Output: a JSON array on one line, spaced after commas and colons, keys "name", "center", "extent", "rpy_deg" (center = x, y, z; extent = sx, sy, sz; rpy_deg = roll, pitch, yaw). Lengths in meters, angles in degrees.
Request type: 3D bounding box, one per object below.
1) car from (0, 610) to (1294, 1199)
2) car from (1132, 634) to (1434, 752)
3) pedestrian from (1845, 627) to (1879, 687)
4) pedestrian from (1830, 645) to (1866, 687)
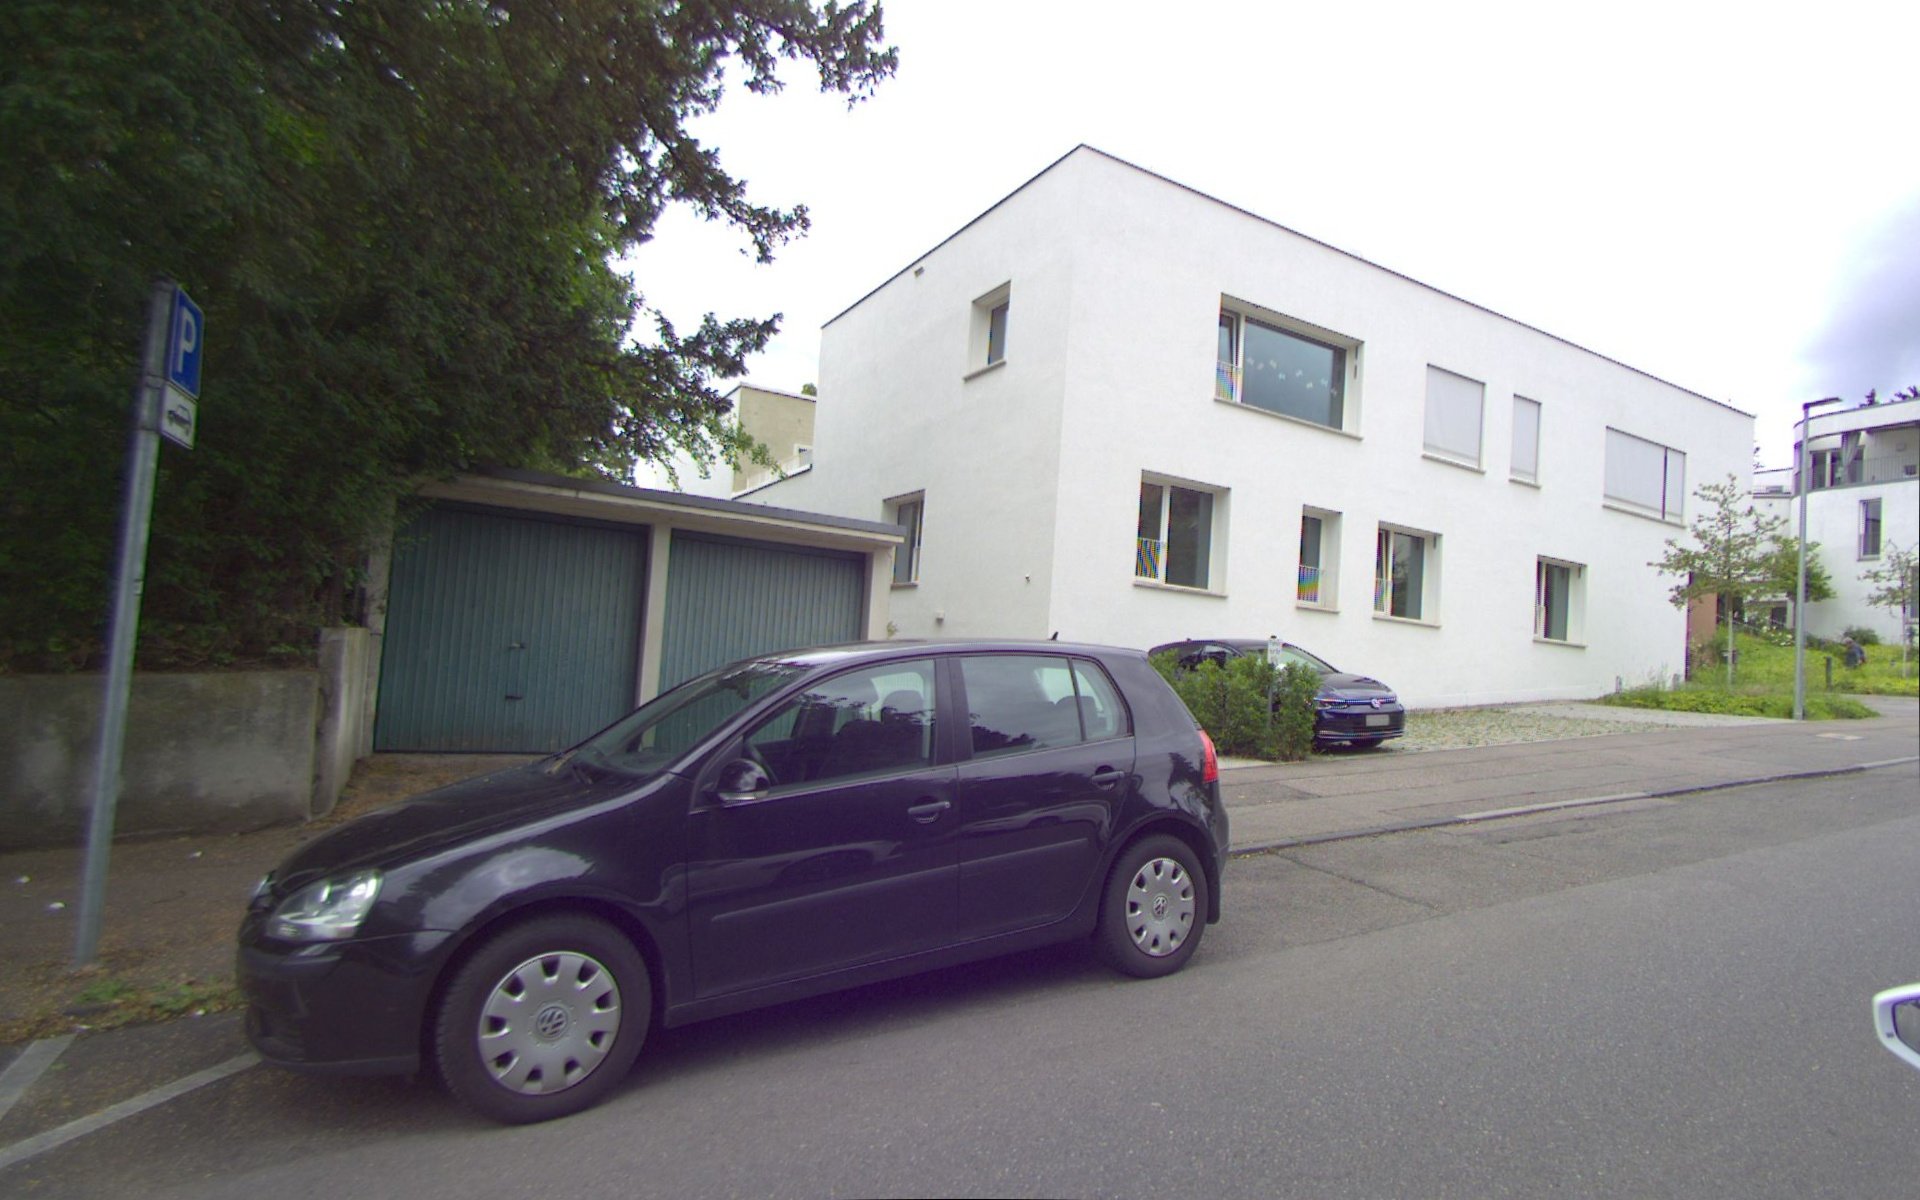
[{"name": "car", "center": [-0.844, 0.855, 4.394], "extent": [4.630, 1.489, 1.841], "rpy_deg": [2, -3, -31]}, {"name": "car", "center": [4.340, 1.187, 13.991], "extent": [1.724, 1.372, 3.770], "rpy_deg": [2, -2, -34]}, {"name": "pedestrian", "center": [25.838, 1.632, 28.778], "extent": [0.513, 1.704, 0.586], "rpy_deg": [2, -2, -28]}, {"name": "pedestrian", "center": [28.062, 2.082, 31.736], "extent": [0.889, 1.300, 0.604], "rpy_deg": [2, -1, -30]}]
